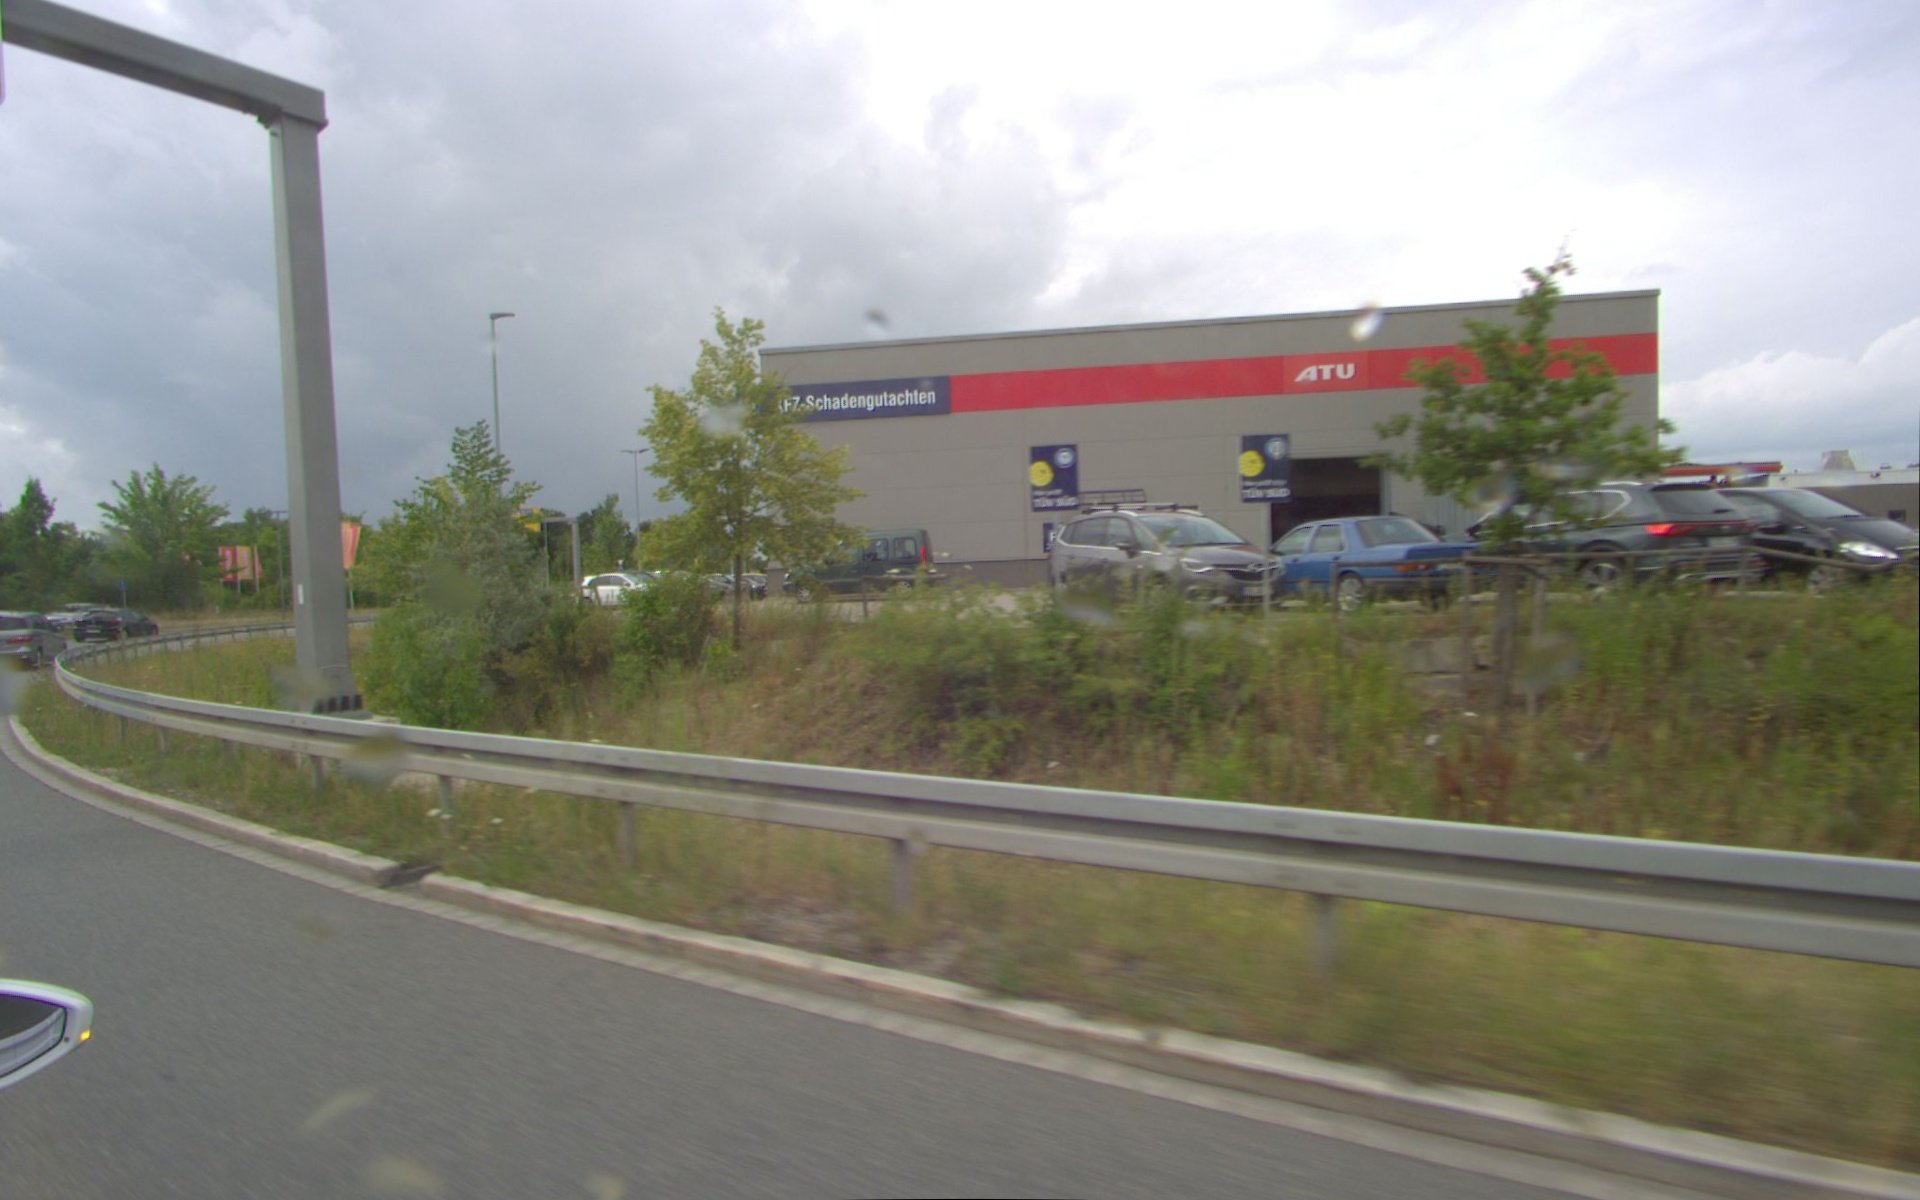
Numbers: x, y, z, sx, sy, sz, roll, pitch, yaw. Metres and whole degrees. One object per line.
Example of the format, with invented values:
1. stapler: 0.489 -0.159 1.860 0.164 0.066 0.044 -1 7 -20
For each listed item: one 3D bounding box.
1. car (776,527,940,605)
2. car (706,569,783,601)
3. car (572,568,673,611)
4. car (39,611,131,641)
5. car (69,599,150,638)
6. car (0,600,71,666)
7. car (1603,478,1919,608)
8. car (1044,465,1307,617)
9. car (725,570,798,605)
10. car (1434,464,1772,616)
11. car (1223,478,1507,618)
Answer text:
1. car: -2.585 -0.891 25.909 3.894 1.837 1.703 -2 3 7
2. car: -12.043 -0.847 56.178 3.821 1.554 1.720 -3 0 5
3. car: -14.047 -0.435 41.740 3.559 1.559 1.642 -3 1 8
4. car: -46.262 1.325 53.068 1.435 1.505 4.095 -1 0 -3
5. car: -37.185 0.800 43.886 1.846 1.626 3.719 -1 0 -26
6. car: -26.787 0.990 28.342 1.748 1.637 3.901 -3 -2 -33
7. car: 11.318 -0.746 13.938 1.662 1.540 3.785 -1 2 -17
8. car: 2.977 -0.698 14.821 1.775 1.805 4.159 1 -2 -22
9. car: -11.607 -0.723 58.733 3.786 1.843 1.720 -3 0 5
10. car: 8.551 -0.674 13.711 1.493 1.674 3.725 0 -2 -21
11. car: 5.802 -0.627 14.862 1.705 1.674 3.848 1 -2 -23
